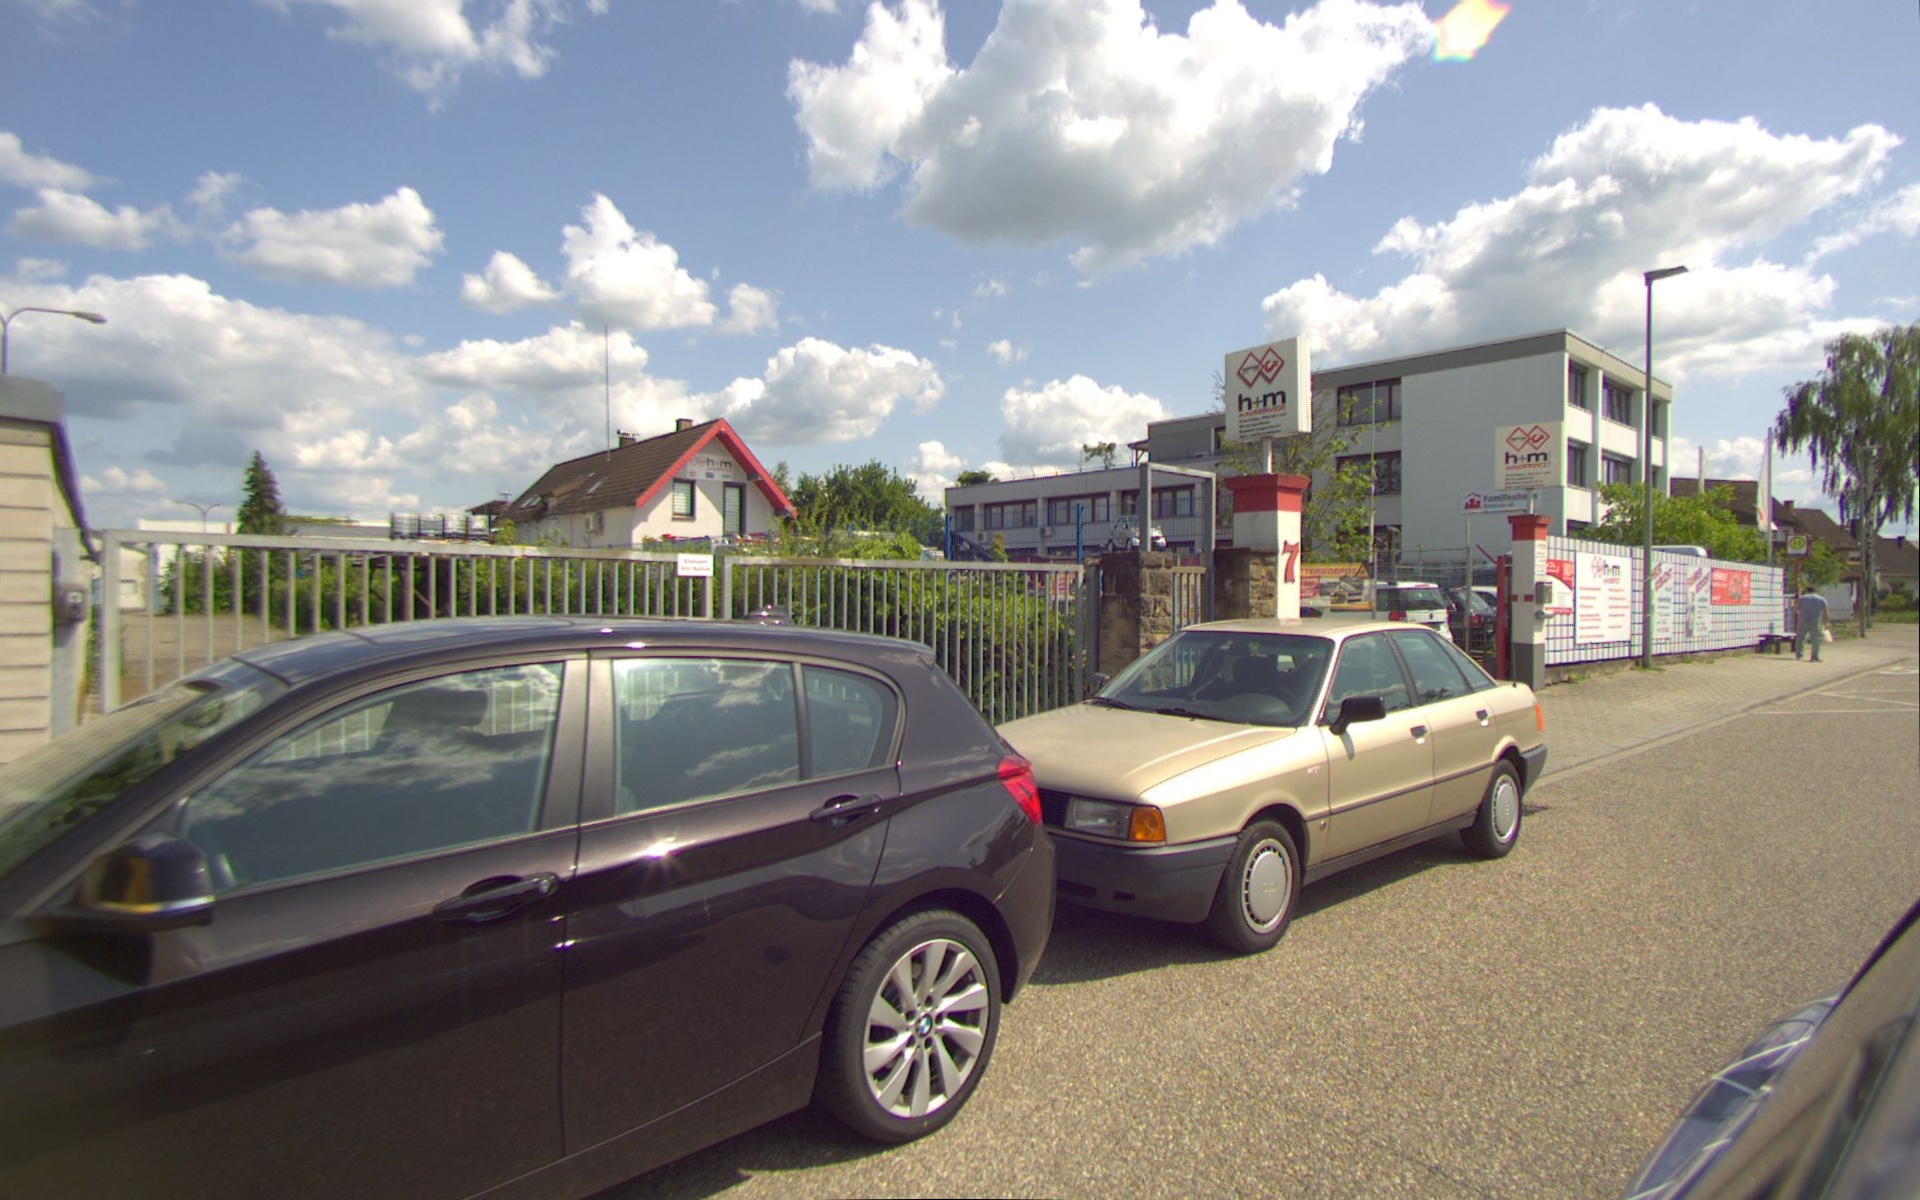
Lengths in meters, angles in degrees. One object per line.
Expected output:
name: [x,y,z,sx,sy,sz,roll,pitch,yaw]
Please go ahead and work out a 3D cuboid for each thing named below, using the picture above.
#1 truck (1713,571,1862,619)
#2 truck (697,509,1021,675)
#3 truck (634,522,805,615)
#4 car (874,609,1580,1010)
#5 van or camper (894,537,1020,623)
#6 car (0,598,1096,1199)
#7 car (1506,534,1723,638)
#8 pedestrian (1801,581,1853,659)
truck: [46.710,-0.251,57.353,5.991,2.610,2.546,0,-1,24]
truck: [-2.207,-0.150,19.130,2.532,2.557,7.089,0,0,-41]
truck: [-8.490,-1.007,35.069,2.767,2.882,7.265,0,0,-41]
car: [1.765,0.776,5.702,4.344,1.404,1.654,0,-1,-40]
van or camper: [-0.211,-0.783,41.206,2.106,3.270,5.431,0,0,-41]
car: [-1.675,0.743,2.411,4.211,1.459,1.664,0,-1,-43]
car: [18.334,-0.382,28.515,4.904,2.685,2.042,0,0,42]
pedestrian: [19.968,0.443,23.311,0.514,1.717,0.716,0,5,-45]
